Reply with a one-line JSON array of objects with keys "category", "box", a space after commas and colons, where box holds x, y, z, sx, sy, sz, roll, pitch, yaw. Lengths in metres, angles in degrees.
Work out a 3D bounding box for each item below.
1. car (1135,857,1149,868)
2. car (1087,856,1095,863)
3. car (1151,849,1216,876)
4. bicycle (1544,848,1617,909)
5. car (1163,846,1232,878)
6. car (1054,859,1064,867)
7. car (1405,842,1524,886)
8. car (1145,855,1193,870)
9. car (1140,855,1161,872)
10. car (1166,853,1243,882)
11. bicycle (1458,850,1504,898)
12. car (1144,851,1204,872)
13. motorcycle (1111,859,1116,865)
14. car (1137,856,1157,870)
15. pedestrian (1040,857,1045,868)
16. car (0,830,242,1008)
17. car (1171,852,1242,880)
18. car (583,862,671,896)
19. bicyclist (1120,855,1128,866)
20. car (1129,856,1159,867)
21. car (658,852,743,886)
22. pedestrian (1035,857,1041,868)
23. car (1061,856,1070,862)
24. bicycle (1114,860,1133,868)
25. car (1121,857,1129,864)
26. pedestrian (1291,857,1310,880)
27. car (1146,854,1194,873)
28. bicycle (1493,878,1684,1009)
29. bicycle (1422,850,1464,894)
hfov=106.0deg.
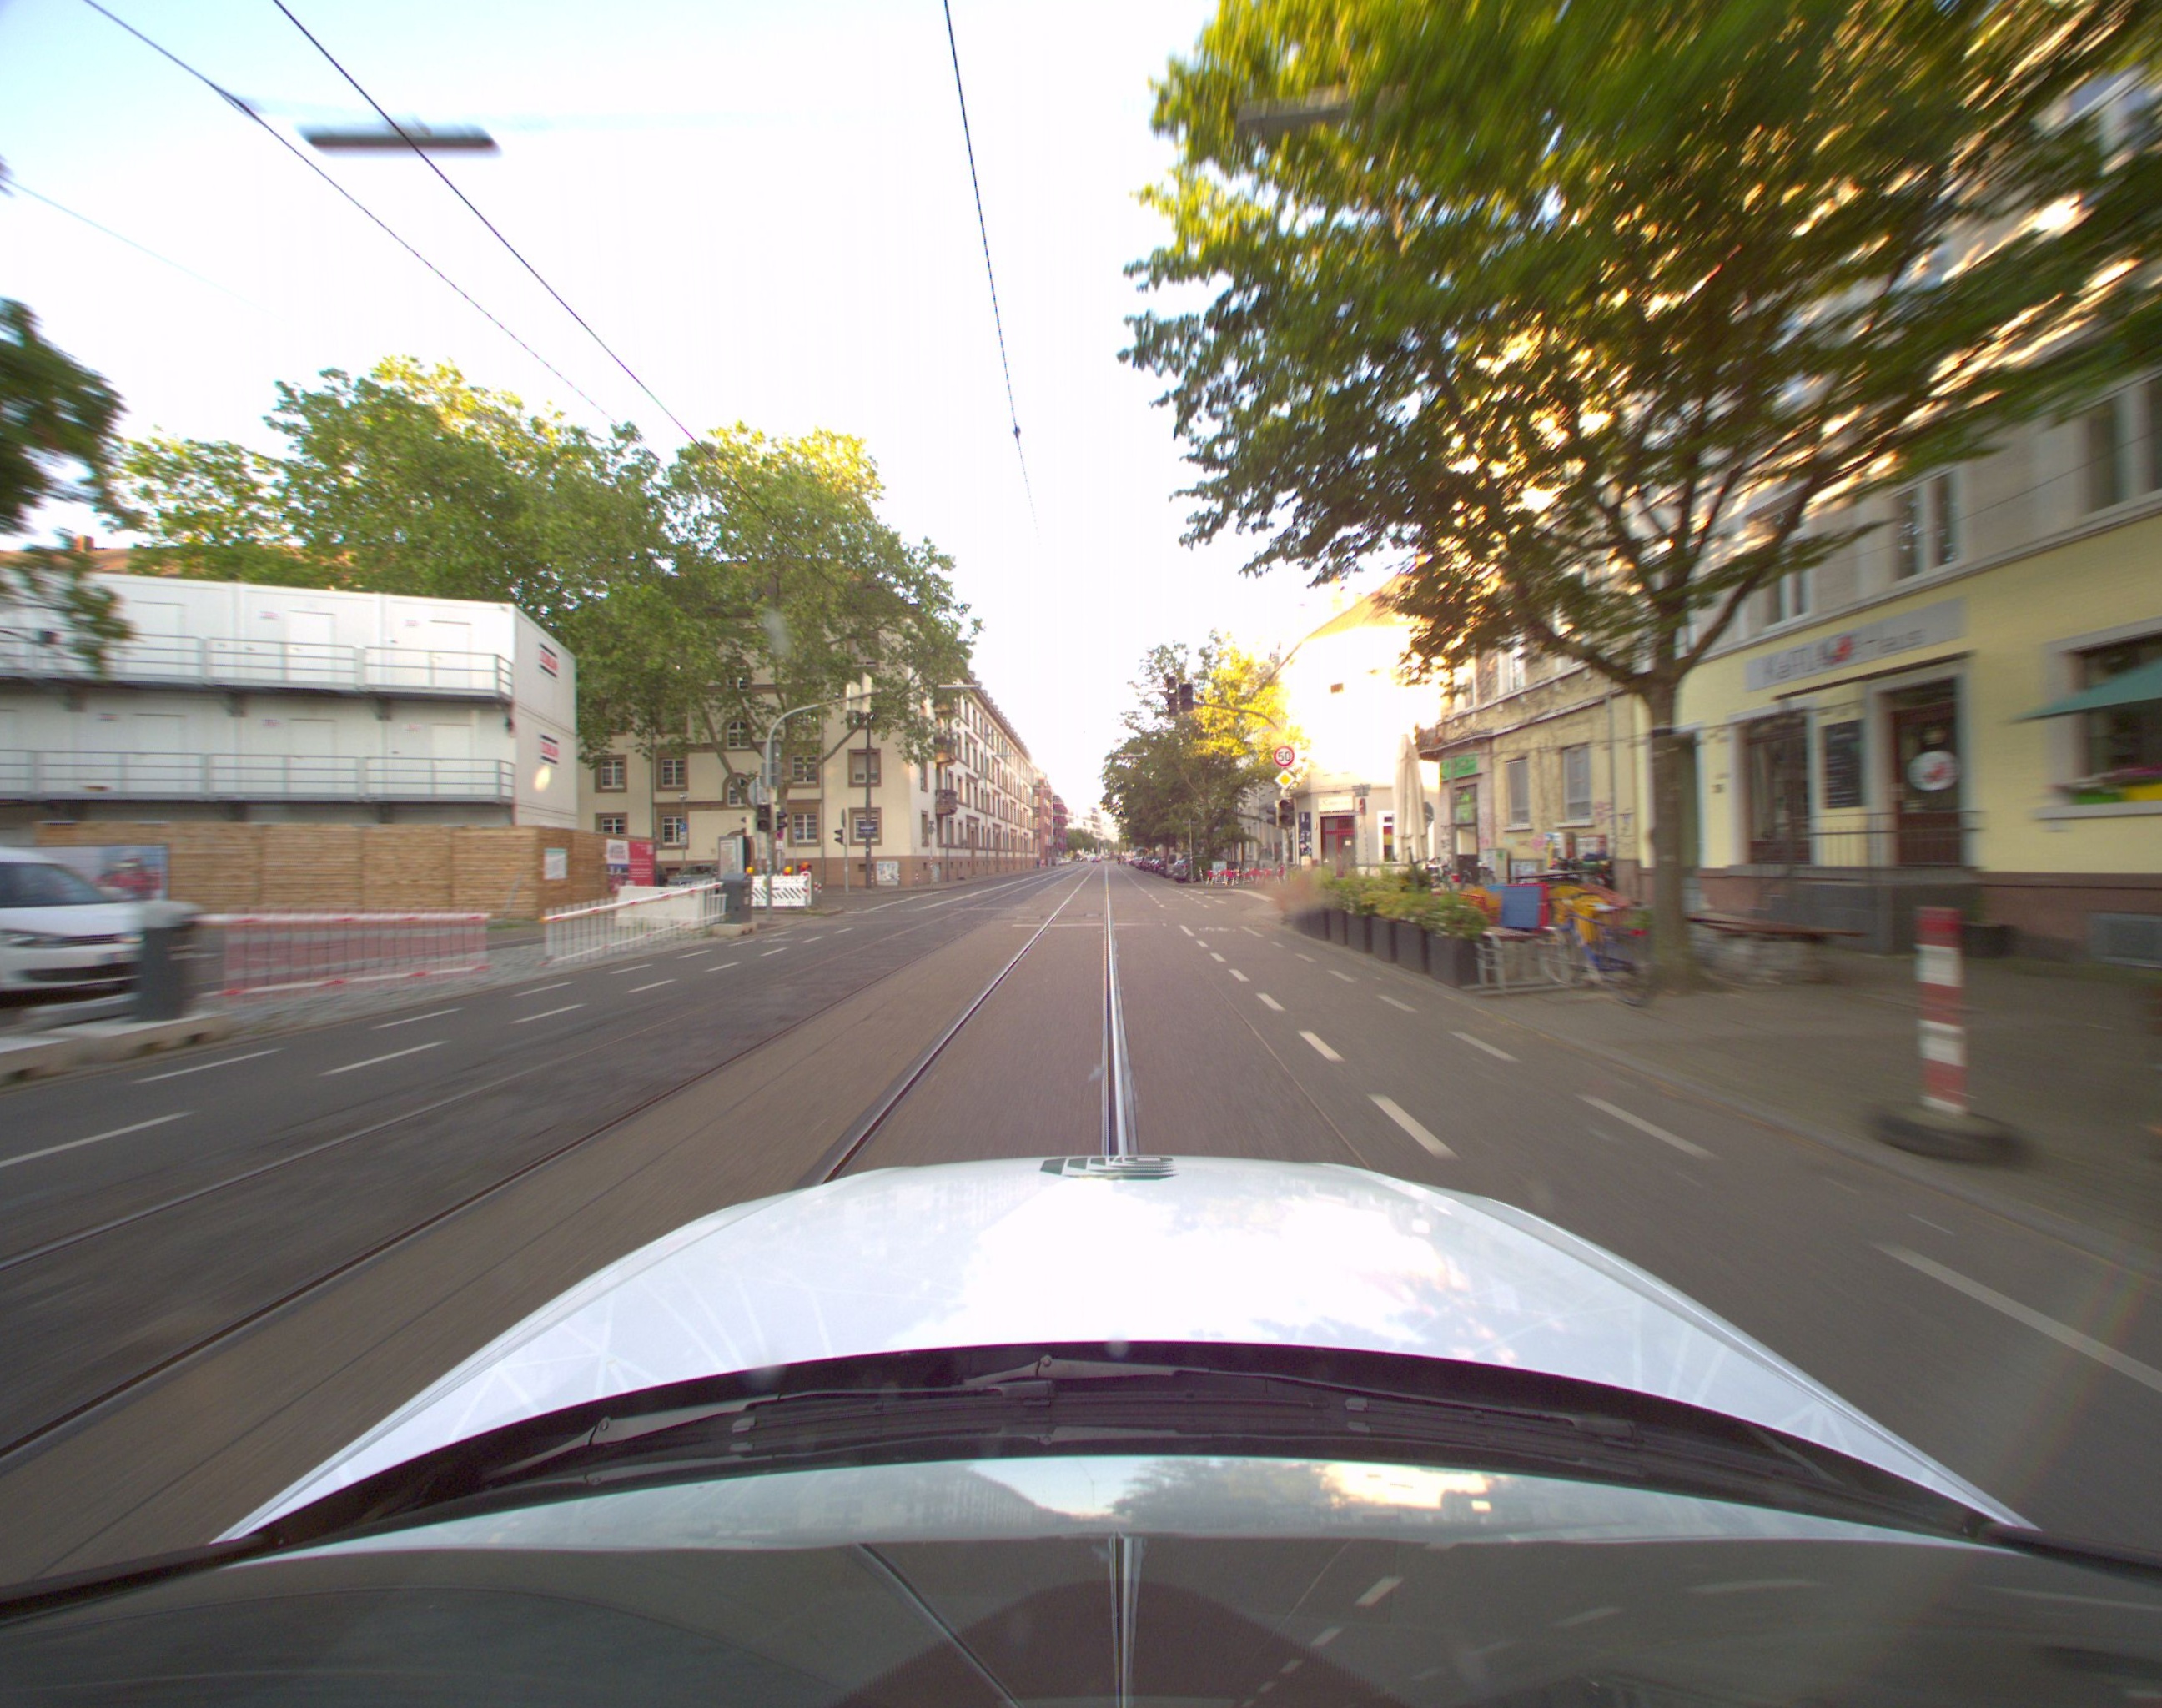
[{"category": "car", "box": [8.058, 1.176, 108.298, 1.613, 1.381, 3.777, -3, -1, 2]}, {"category": "car", "box": [2.532, 1.329, 203.315, 1.550, 1.558, 3.763, -2, 0, 7]}, {"category": "car", "box": [7.268, 0.586, 58.029, 4.193, 1.696, 1.834, -2, 0, -20]}, {"category": "bicycle", "box": [10.487, 0.497, 17.171, 0.468, 1.210, 1.783, -1, 0, 2]}, {"category": "car", "box": [7.569, 0.515, 52.875, 4.001, 1.816, 1.812, -3, 0, -20]}, {"category": "car", "box": [-4.333, 1.809, 162.867, 1.710, 1.556, 4.206, 0, 0, 2]}, {"category": "car", "box": [16.686, 0.451, 35.614, 4.299, 1.841, 1.910, 0, -1, 7]}, {"category": "car", "box": [8.304, 0.795, 76.615, 4.269, 1.388, 1.607, -1, 0, -24]}, {"category": "car", "box": [7.316, 0.986, 85.755, 1.873, 1.618, 4.263, -4, 0, 1]}, {"category": "car", "box": [7.153, 0.754, 47.244, 3.998, 1.540, 1.768, -1, 0, -18]}, {"category": "bicycle", "box": [10.531, 0.510, 21.491, 0.468, 1.210, 1.586, -1, 0, 2]}, {"category": "car", "box": [7.354, 0.564, 64.396, 4.386, 1.464, 1.710, -2, 0, -16]}, {"category": "motorcycle", "box": [6.785, 1.592, 170.573, 0.825, 1.240, 2.491, -1, 0, 0]}, {"category": "car", "box": [7.646, 1.066, 94.845, 1.986, 1.489, 5.038, -2, -1, 2]}, {"category": "pedestrian", "box": [-5.633, 1.281, 119.269, 0.589, 1.609, 0.811, -1, -1, -1]}, {"category": "car", "box": [-13.403, 0.695, 9.703, 4.813, 1.873, 2.017, 0, 0, 2]}, {"category": "car", "box": [7.763, 0.724, 50.282, 4.000, 1.566, 1.708, -1, 0, -20]}, {"category": "car", "box": [-21.692, 1.161, 39.122, 1.746, 1.360, 4.096, 0, 2, 2]}, {"category": "bicyclist", "box": [7.589, 1.169, 145.297, 1.213, 2.013, 0.945, -2, 0, -7]}, {"category": "car", "box": [10.384, 1.234, 133.524, 4.461, 1.516, 2.048, -2, 0, -22]}, {"category": "car", "box": [-18.026, 0.688, 38.845, 1.746, 1.360, 4.478, 0, 2, 2]}, {"category": "pedestrian", "box": [-6.324, 1.251, 119.184, 0.793, 1.701, 0.981, -1, -1, -1]}, {"category": "car", "box": [-3.421, 1.093, 182.808, 1.684, 1.414, 4.682, 1, 0, 4]}, {"category": "bicycle", "box": [7.594, 1.819, 145.286, 3.167, 1.354, 0.955, -2, -1, -7]}, {"category": "car", "box": [9.948, 1.368, 183.089, 1.709, 1.555, 4.207, 0, 0, 3]}, {"category": "pedestrian", "box": [11.208, 0.720, 41.519, 0.652, 1.155, 0.686, -1, -1, -22]}, {"category": "car", "box": [8.020, 0.856, 73.691, 3.970, 1.553, 1.710, -2, 1, -16]}, {"category": "bicycle", "box": [5.124, 0.845, 8.412, 0.759, 1.125, 2.027, 0, 0, 2]}, {"category": "bicycle", "box": [10.423, 0.513, 23.478, 0.521, 1.210, 1.586, -1, 0, 2]}]
